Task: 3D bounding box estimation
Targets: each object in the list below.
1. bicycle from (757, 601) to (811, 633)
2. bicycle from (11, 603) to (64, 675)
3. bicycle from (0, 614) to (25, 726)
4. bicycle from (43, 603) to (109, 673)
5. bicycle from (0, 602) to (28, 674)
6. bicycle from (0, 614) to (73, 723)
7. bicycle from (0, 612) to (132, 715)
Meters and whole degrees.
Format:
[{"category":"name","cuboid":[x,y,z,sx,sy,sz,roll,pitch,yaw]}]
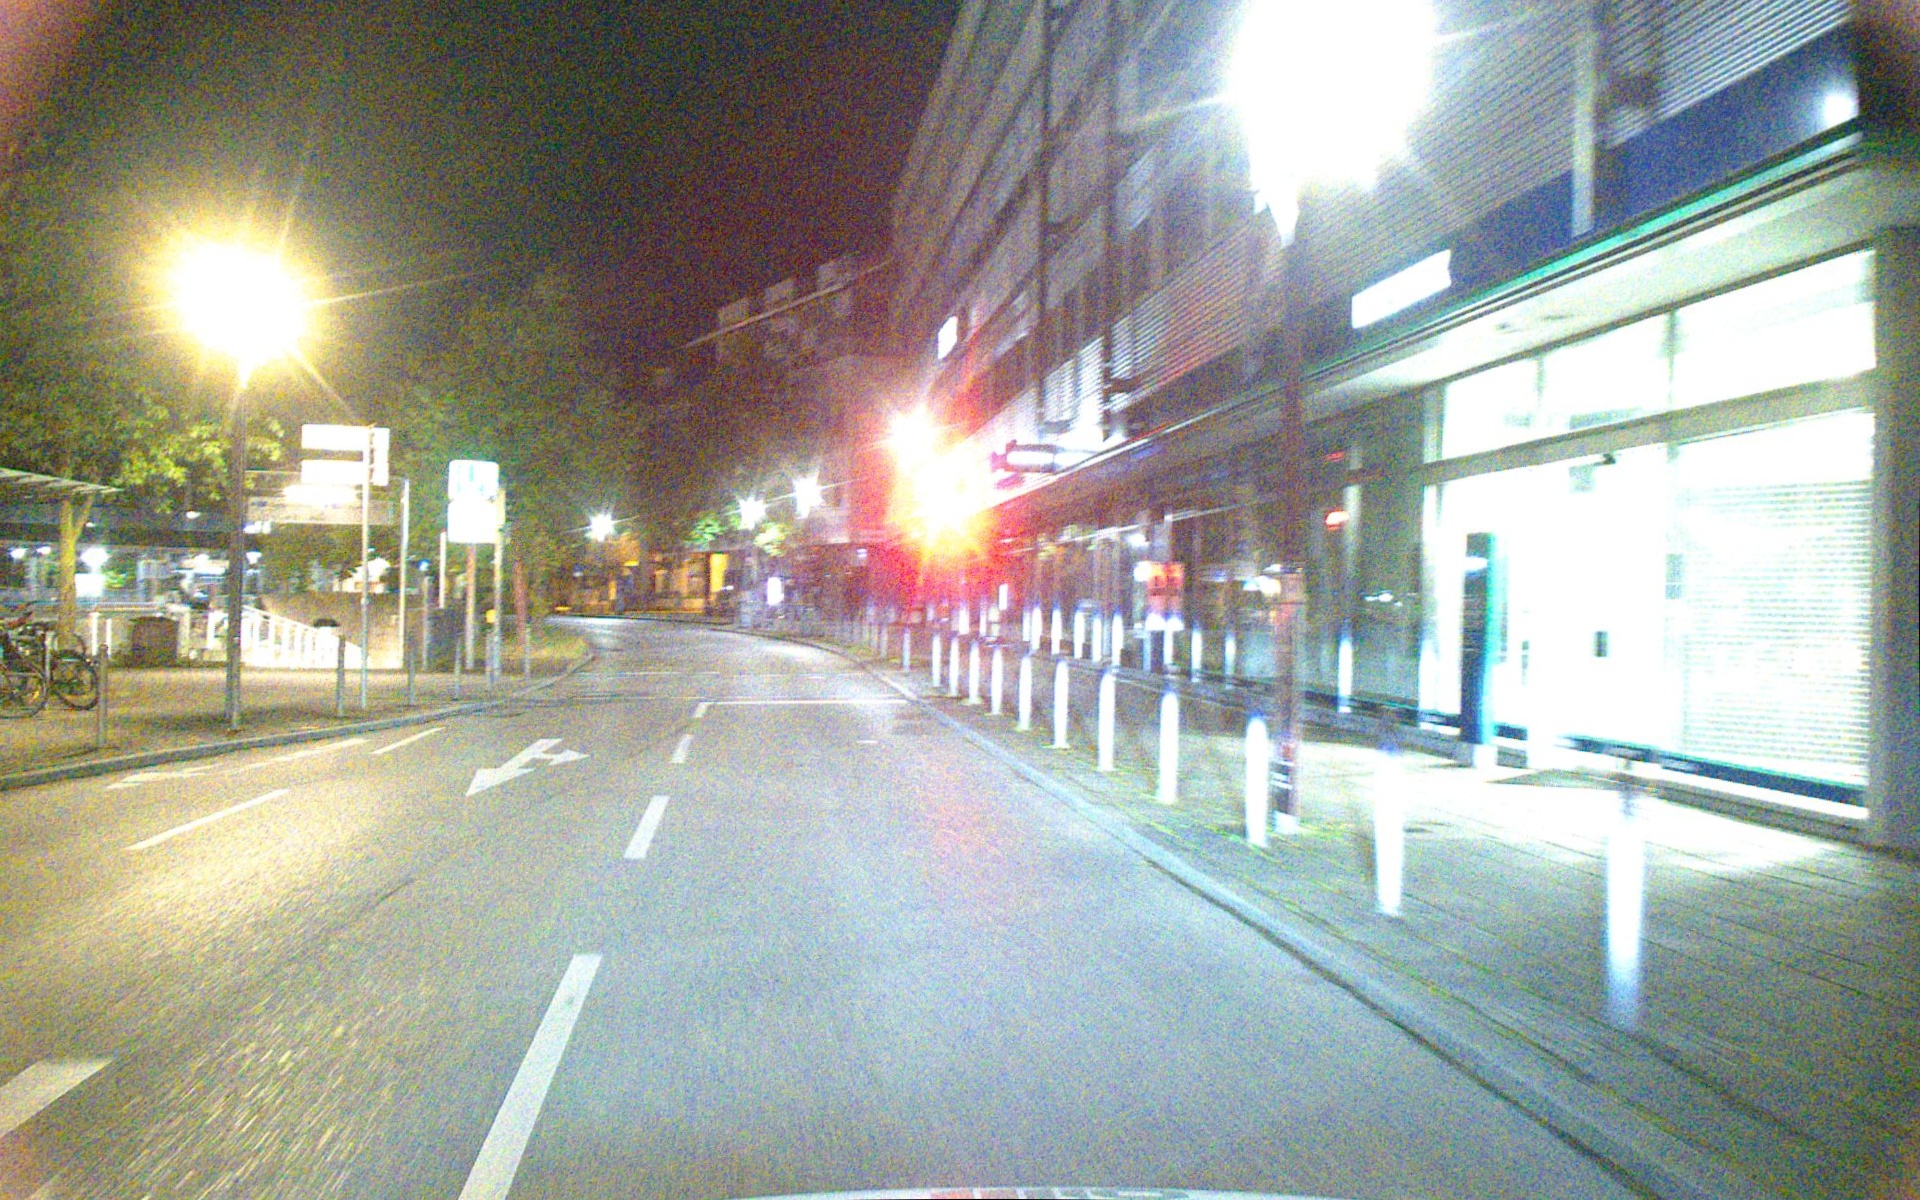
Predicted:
[{"category":"bicycle","cuboid":[-6.081,0.577,57.225,1.732,1.081,0.649,1,0,-32]},{"category":"bicycle","cuboid":[-16.112,0.660,28.870,0.539,1.175,1.723,-1,1,-38]},{"category":"bicycle","cuboid":[-10.407,0.699,16.633,1.585,1.125,0.669,1,-1,-7]},{"category":"bicycle","cuboid":[-15.891,0.661,29.722,0.754,1.182,1.723,-1,1,-38]},{"category":"bicycle","cuboid":[-16.891,0.651,29.081,0.603,1.186,1.723,-1,1,-38]},{"category":"bicycle","cuboid":[-10.322,0.709,17.401,1.585,1.125,0.669,1,-1,-7]},{"category":"bicycle","cuboid":[-10.302,0.708,18.629,1.585,1.125,0.669,1,-1,-7]}]
